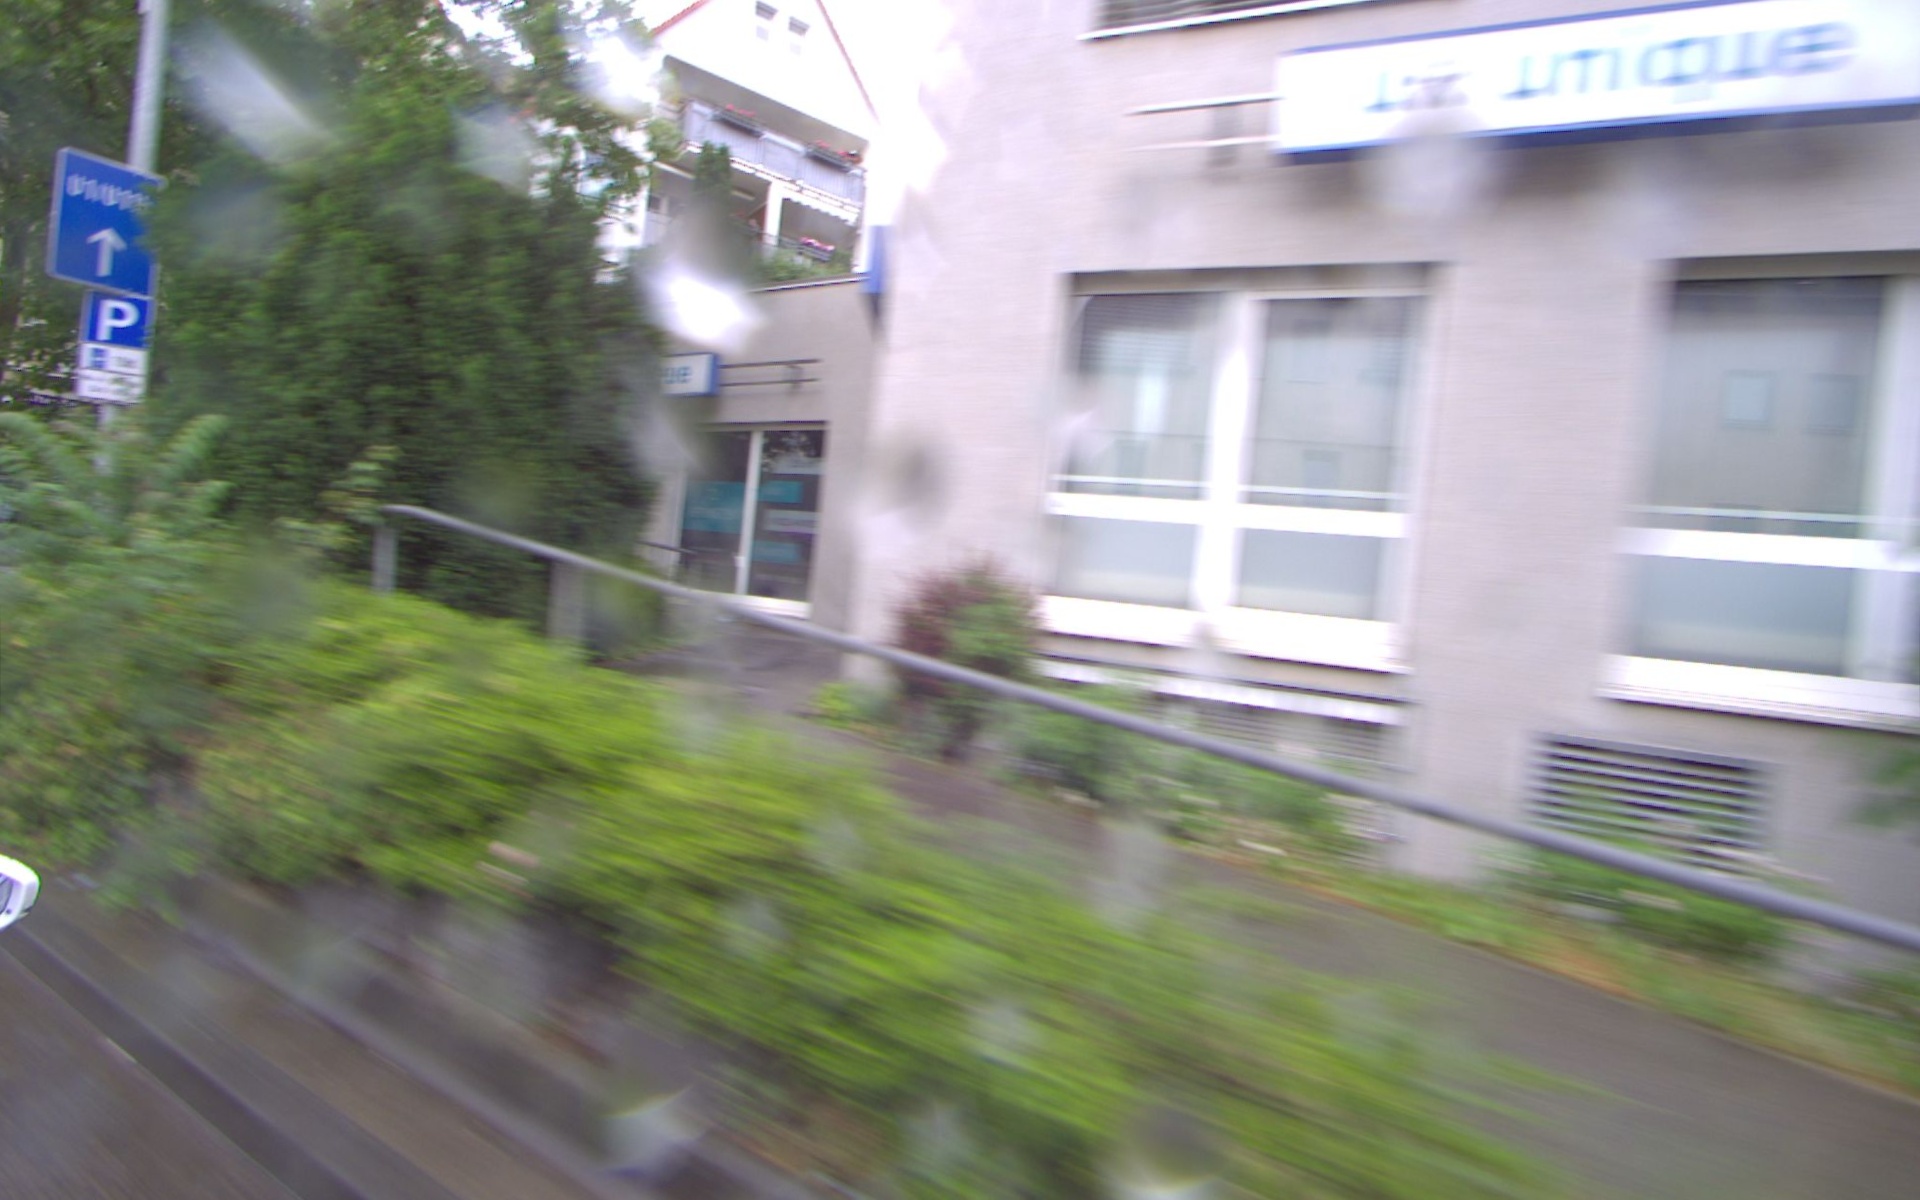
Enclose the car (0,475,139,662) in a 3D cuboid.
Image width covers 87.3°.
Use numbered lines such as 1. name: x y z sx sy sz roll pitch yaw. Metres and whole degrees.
1. car: -9.786 -0.463 9.582 3.848 1.593 1.712 7 1 30
